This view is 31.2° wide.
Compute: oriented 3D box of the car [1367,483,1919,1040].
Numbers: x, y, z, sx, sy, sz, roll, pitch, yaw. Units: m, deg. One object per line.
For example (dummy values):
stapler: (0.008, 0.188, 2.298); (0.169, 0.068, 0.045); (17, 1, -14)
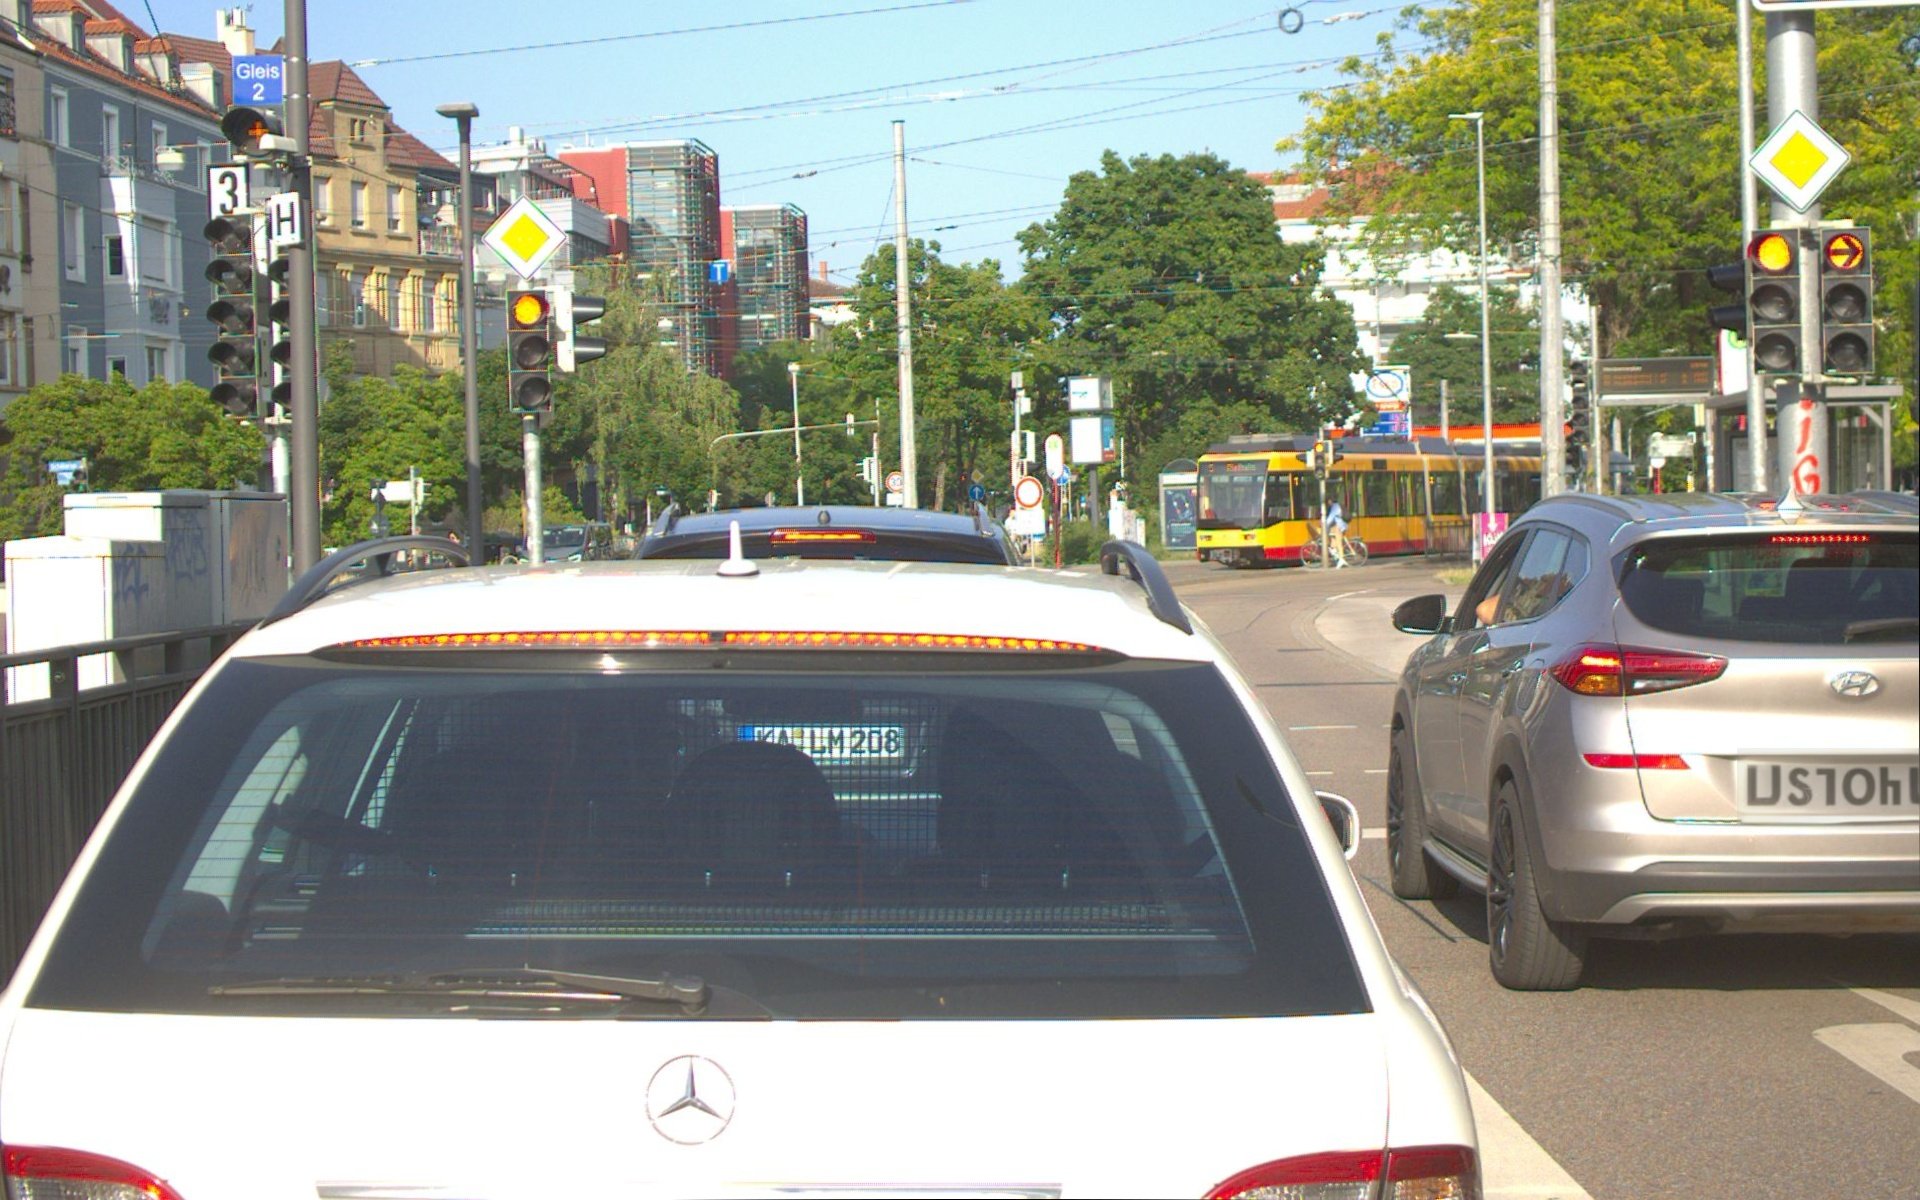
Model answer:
car: (2.638, 0.438, 12.184); (1.885, 1.645, 3.648); (-2, 1, 0)

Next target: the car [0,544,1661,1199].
car: (-0.290, 0.663, 4.940); (1.796, 1.465, 3.648); (0, 1, -1)

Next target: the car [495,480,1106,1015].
car: (-0.512, 0.422, 12.537); (1.885, 1.645, 3.648); (1, 1, 0)

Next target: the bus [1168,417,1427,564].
bus: (9.184, -2.801, 91.687); (3.112, 3.593, 12.359); (1, 1, 24)

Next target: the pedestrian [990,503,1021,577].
pedestrian: (1.157, -1.522, 86.887); (0.642, 1.850, 0.551); (-1, 1, 11)

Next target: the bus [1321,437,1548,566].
bus: (14.406, -2.855, 103.103); (3.113, 3.593, 12.574); (1, 1, 25)
